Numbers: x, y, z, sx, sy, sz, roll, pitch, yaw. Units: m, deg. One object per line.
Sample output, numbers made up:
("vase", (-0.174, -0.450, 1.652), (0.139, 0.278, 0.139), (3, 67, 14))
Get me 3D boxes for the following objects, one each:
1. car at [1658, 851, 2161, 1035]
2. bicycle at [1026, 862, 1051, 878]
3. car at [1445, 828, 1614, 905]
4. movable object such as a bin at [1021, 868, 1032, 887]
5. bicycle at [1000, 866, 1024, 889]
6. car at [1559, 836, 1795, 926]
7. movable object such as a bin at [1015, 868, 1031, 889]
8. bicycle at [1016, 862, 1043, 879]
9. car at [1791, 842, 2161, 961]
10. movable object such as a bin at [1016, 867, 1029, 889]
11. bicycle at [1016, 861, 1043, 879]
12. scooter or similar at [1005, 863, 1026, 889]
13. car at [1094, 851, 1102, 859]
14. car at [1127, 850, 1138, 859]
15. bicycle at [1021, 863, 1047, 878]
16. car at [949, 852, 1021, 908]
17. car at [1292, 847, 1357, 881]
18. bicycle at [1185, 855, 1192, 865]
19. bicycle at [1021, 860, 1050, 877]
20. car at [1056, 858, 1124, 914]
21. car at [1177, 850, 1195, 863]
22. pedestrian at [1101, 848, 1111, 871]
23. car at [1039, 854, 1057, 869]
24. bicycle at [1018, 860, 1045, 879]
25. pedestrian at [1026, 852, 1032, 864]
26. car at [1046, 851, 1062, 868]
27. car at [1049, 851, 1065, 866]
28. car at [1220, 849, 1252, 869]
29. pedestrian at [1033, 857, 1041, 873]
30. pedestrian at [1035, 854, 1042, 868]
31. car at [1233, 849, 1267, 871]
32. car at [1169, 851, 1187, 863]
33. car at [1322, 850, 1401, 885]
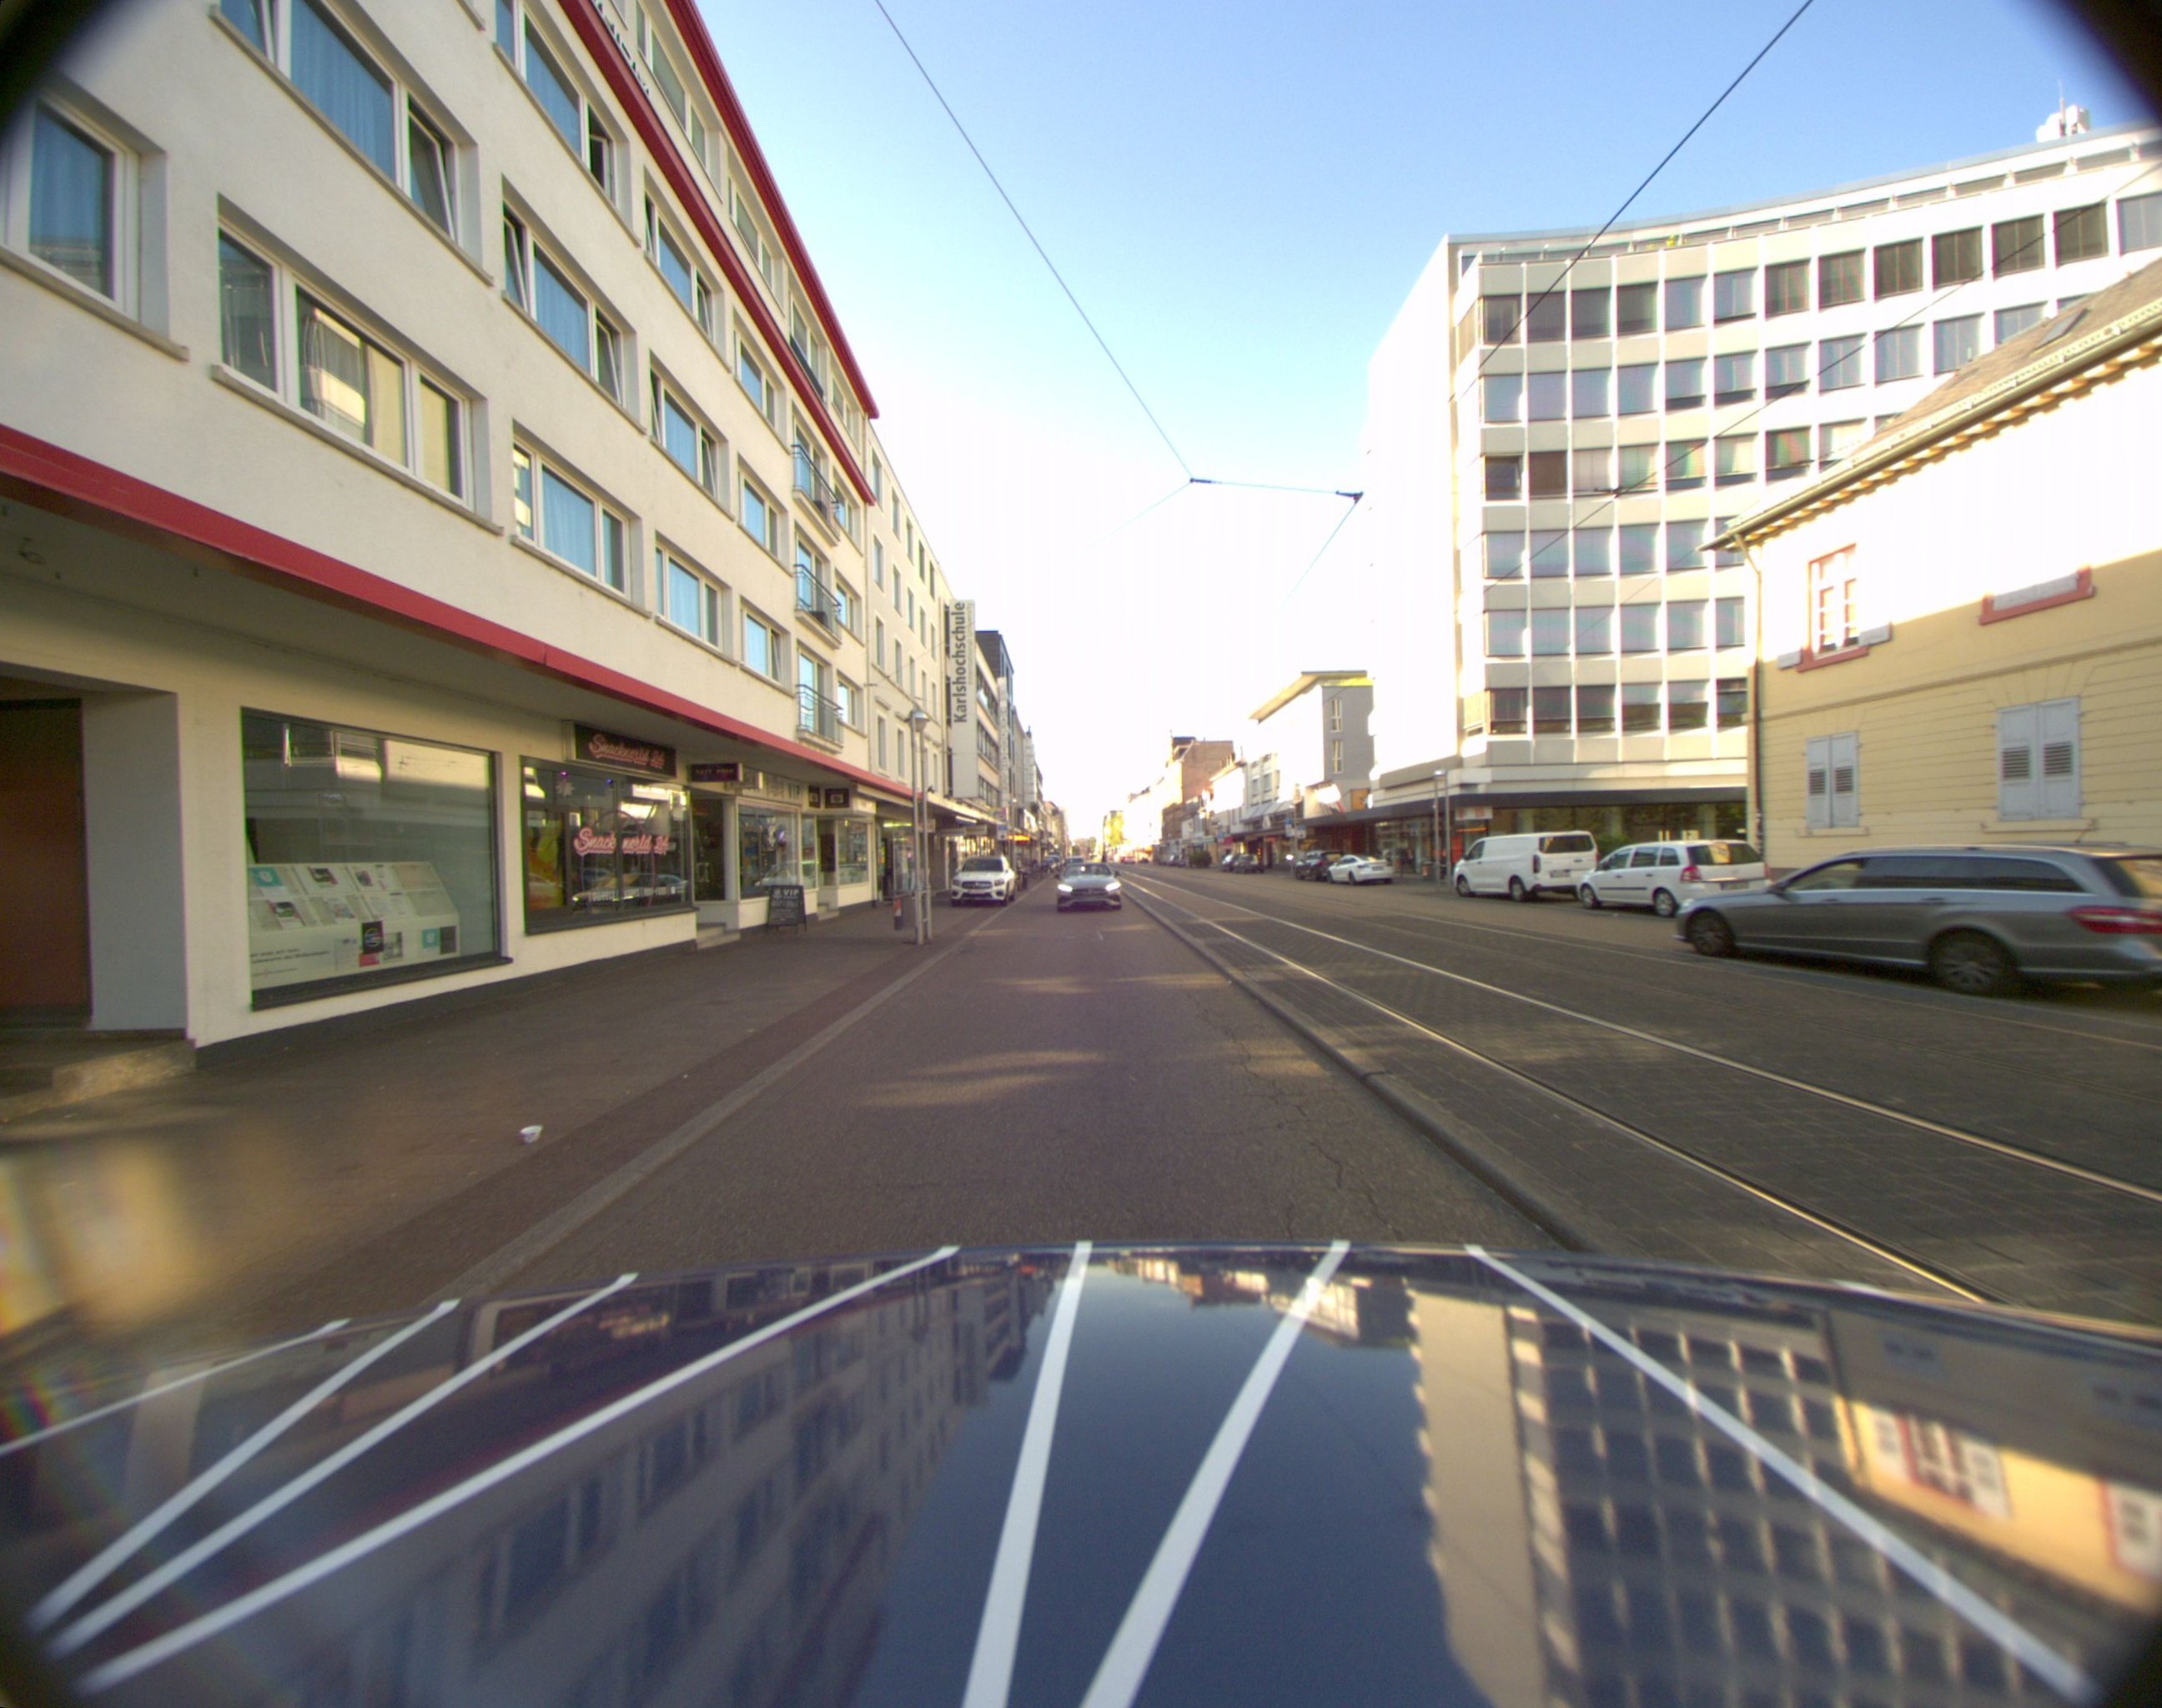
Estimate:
("car", (9.516, 0.717, 8.652), (1.886, 1.487, 4.928), (0, 0, -4))
("bicycle", (-3.141, 1.154, 55.669), (1.778, 1.124, 0.478), (-1, 1, -5))
("car", (13.244, 0.310, 22.913), (1.999, 1.964, 5.095), (-3, 1, 0))
("movable object such as a bin", (-2.753, 1.196, 38.296), (0.489, 0.952, 0.458), (0, 1, 3))
("bicycle", (-3.283, 1.136, 36.131), (1.134, 1.073, 0.320), (0, 1, -1))
("car", (13.184, 0.502, 17.280), (1.812, 1.676, 4.648), (-3, 1, 3))
("movable object such as a bin", (-2.876, 1.196, 37.686), (0.688, 1.008, 0.508), (-1, 1, 2))
("bicycle", (-3.399, 1.088, 50.267), (1.792, 1.153, 0.669), (-1, 1, -1))
("car", (13.172, 0.578, 11.337), (1.618, 1.392, 3.719), (-3, 1, 0))
("movable object such as a bin", (-2.834, 1.158, 36.975), (0.523, 1.008, 0.671), (-1, 1, 3))
("bicycle", (-3.544, 1.070, 52.461), (1.792, 1.210, 0.587), (-1, 1, -1))
("scooter or similar", (-3.147, 1.050, 36.478), (0.995, 1.224, 0.320), (0, 1, -1))
("car", (4.748, 0.290, 210.446), (1.998, 2.002, 4.000), (-3, 1, 1))
("car", (9.723, 0.129, 144.469), (1.802, 1.625, 3.675), (-1, 1, 0))
("bicycle", (-3.344, 1.141, 53.800), (1.778, 1.026, 0.597), (-1, 1, -1))
("car", (-3.211, 0.822, 26.385), (1.854, 1.714, 5.192), (0, 1, 0))
("car", (13.269, 0.484, 41.688), (1.983, 1.669, 4.654), (-3, 1, 0))
("bicycle", (12.342, 0.644, 87.012), (0.520, 1.084, 1.716), (-3, 1, 0))
("bicycle", (-3.405, 1.084, 56.774), (2.043, 1.267, 0.524), (-1, 1, -10))
("car", (0.239, 0.902, 23.424), (1.858, 1.463, 4.785), (-1, 1, 0))
("car", (12.989, 0.301, 94.338), (1.701, 1.594, 2.891), (-3, 1, 0))
("pedestrian", (1.967, 0.419, 60.072), (0.806, 1.827, 0.746), (0, 1, -2))
("car", (-3.470, 0.794, 80.952), (1.726, 1.476, 4.415), (0, 1, 0))
("bicycle", (-3.369, 1.053, 51.545), (1.792, 1.210, 0.669), (-1, 1, -1))
("pedestrian", (-6.199, 0.437, 90.321), (0.577, 1.431, 0.731), (0, 1, 0))
("car", (-3.145, 0.651, 87.646), (1.821, 1.849, 4.548), (0, 1, -4))
("car", (-3.373, 0.581, 104.643), (2.052, 1.899, 4.877), (-1, 1, -3))
("car", (13.338, 0.427, 65.498), (1.741, 1.514, 4.851), (-4, 1, 1))
("pedestrian", (-3.960, 0.989, 68.266), (0.584, 1.485, 0.523), (0, 1, -36))
("pedestrian", (-4.910, 0.810, 87.633), (0.697, 1.499, 0.814), (-1, 1, 0))
("car", (13.183, 0.442, 59.397), (1.605, 1.514, 3.588), (-4, 1, -3))
("car", (13.222, 0.398, 103.632), (1.822, 1.505, 4.762), (-2, 1, 0))
("car", (13.302, 0.599, 36.308), (1.893, 1.413, 4.655), (-3, 1, -1))
